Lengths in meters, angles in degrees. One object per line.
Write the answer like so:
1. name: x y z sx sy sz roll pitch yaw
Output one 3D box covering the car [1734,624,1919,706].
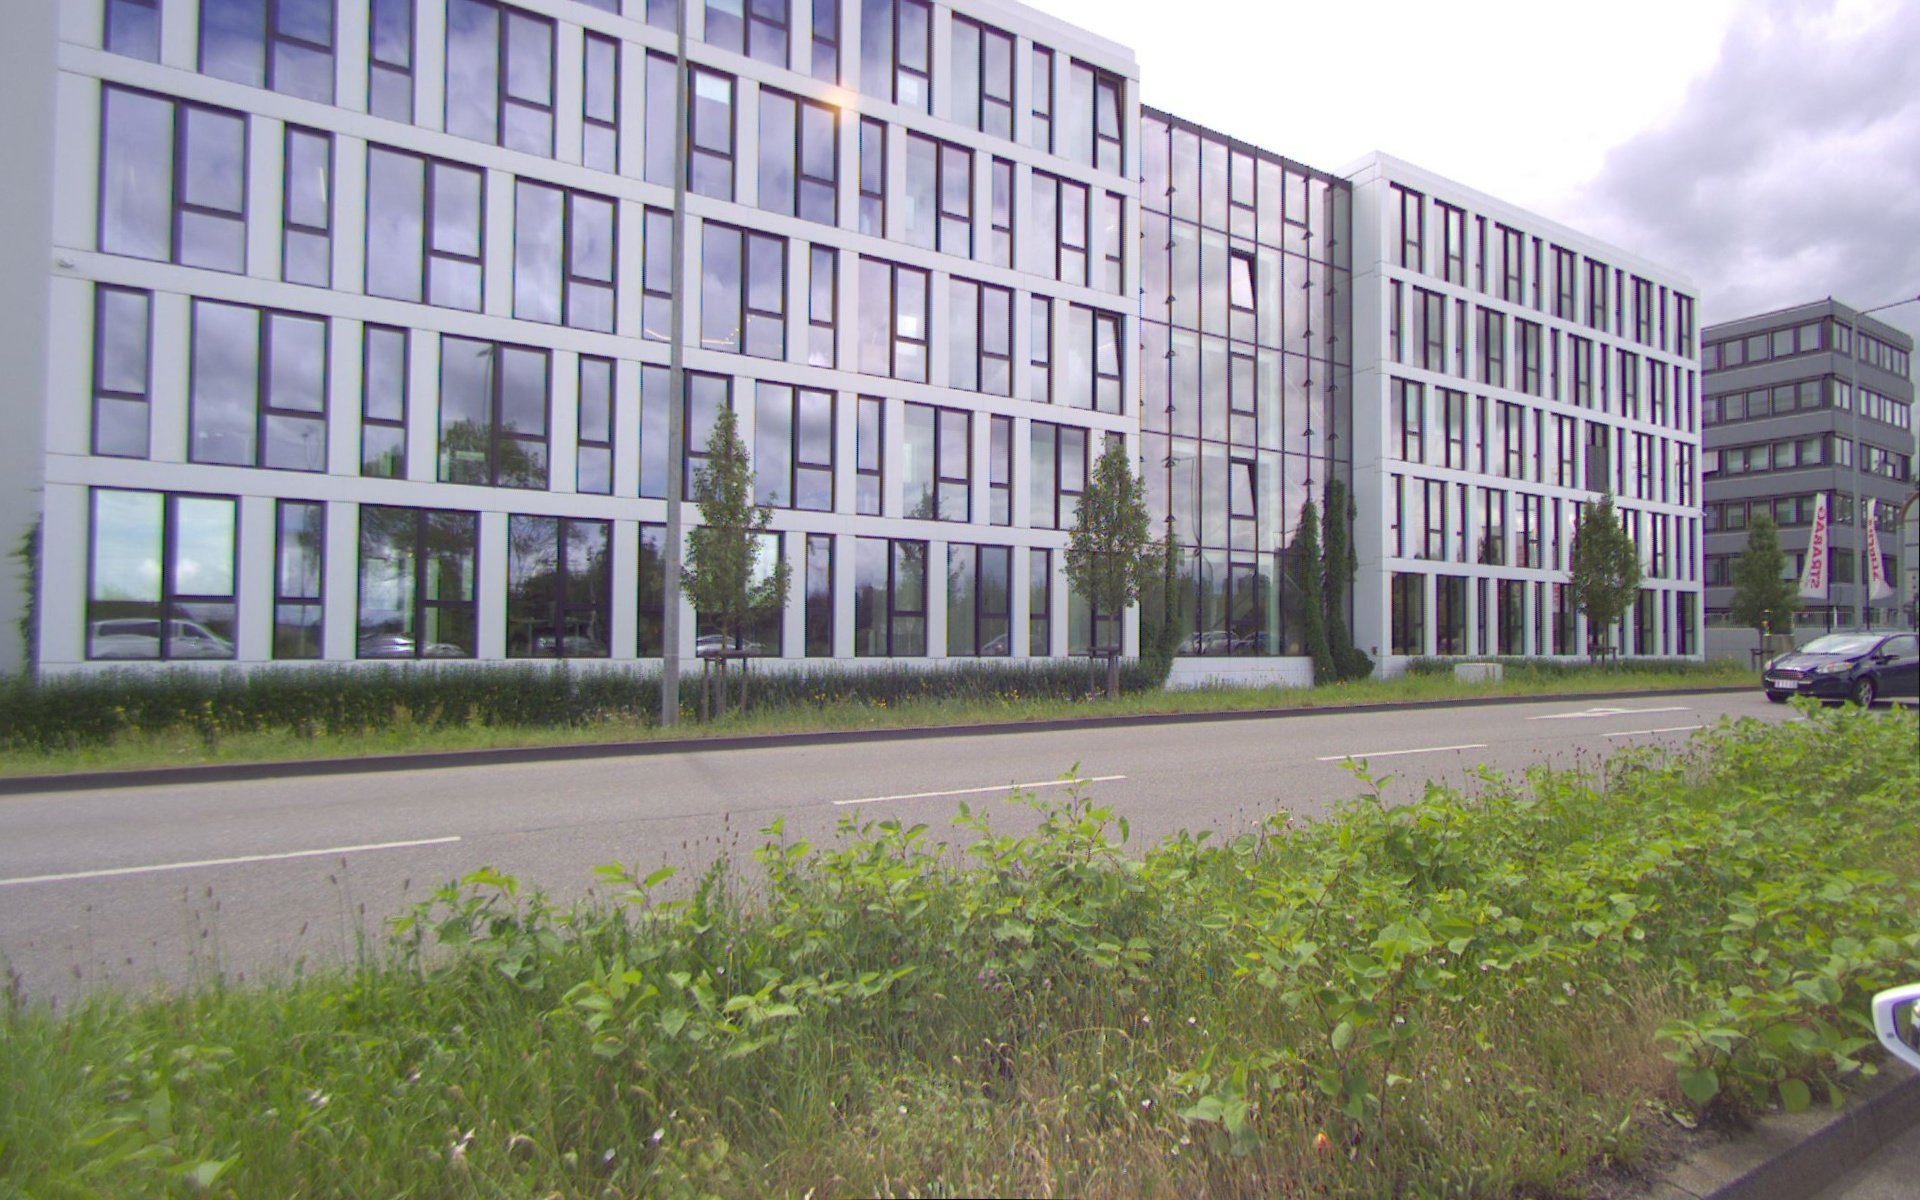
1. car: 17.728 1.271 19.878 3.824 1.465 1.756 2 0 -12
